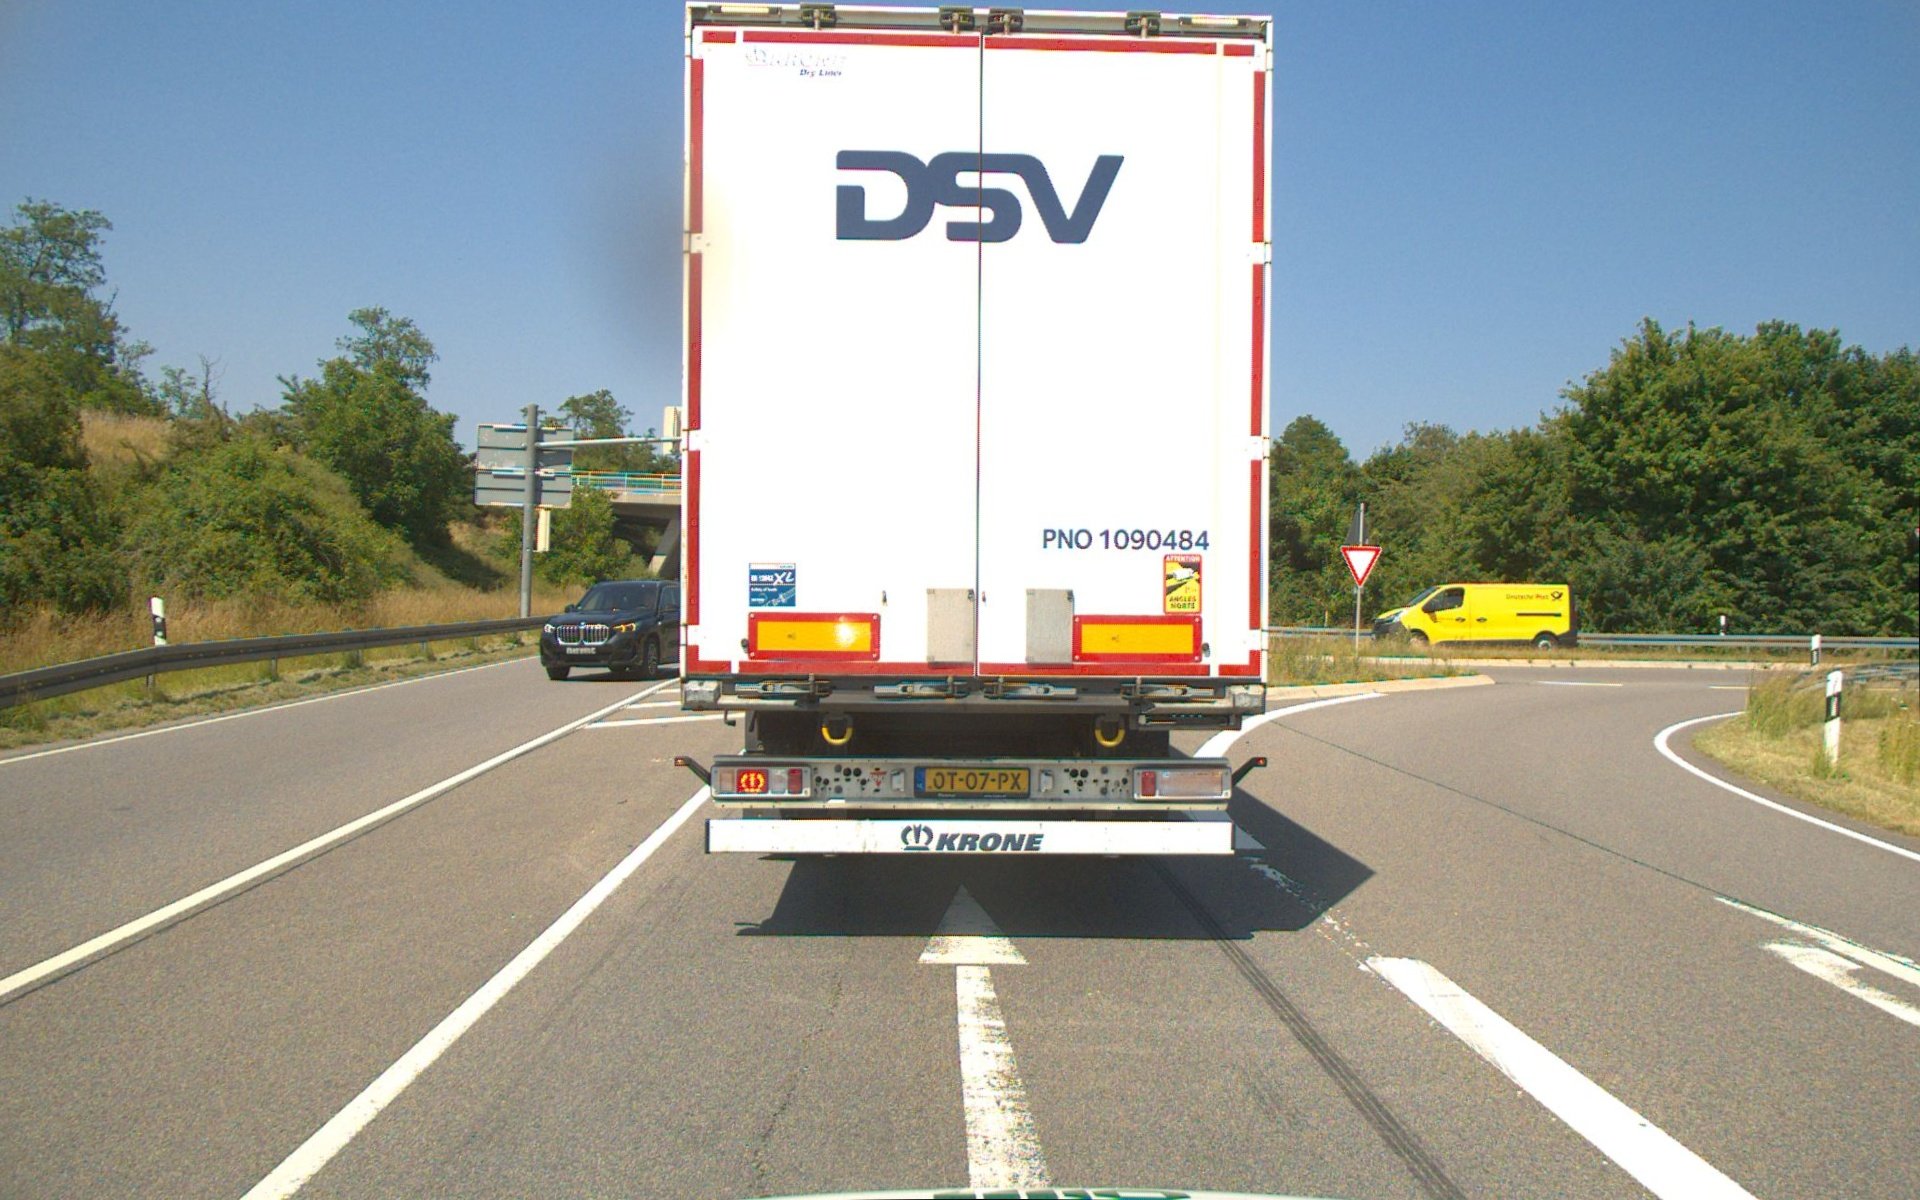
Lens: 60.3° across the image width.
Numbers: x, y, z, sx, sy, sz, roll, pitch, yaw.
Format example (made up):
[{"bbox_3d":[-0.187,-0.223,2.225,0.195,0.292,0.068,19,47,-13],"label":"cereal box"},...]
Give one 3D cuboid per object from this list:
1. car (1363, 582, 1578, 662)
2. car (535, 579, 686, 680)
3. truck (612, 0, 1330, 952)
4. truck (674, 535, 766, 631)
[{"bbox_3d":[13.693,0.578,44.618,5.211,2.049,2.001,1,-1,2],"label":"car"},{"bbox_3d":[-5.983,0.468,28.800,1.726,1.626,4.500,0,0,-1],"label":"car"},{"bbox_3d":[-0.059,-0.560,11.770,2.927,4.011,9.872,1,0,-1],"label":"truck"},{"bbox_3d":[-9.456,-0.611,65.908,2.591,3.600,7.888,1,0,-1],"label":"truck"}]
